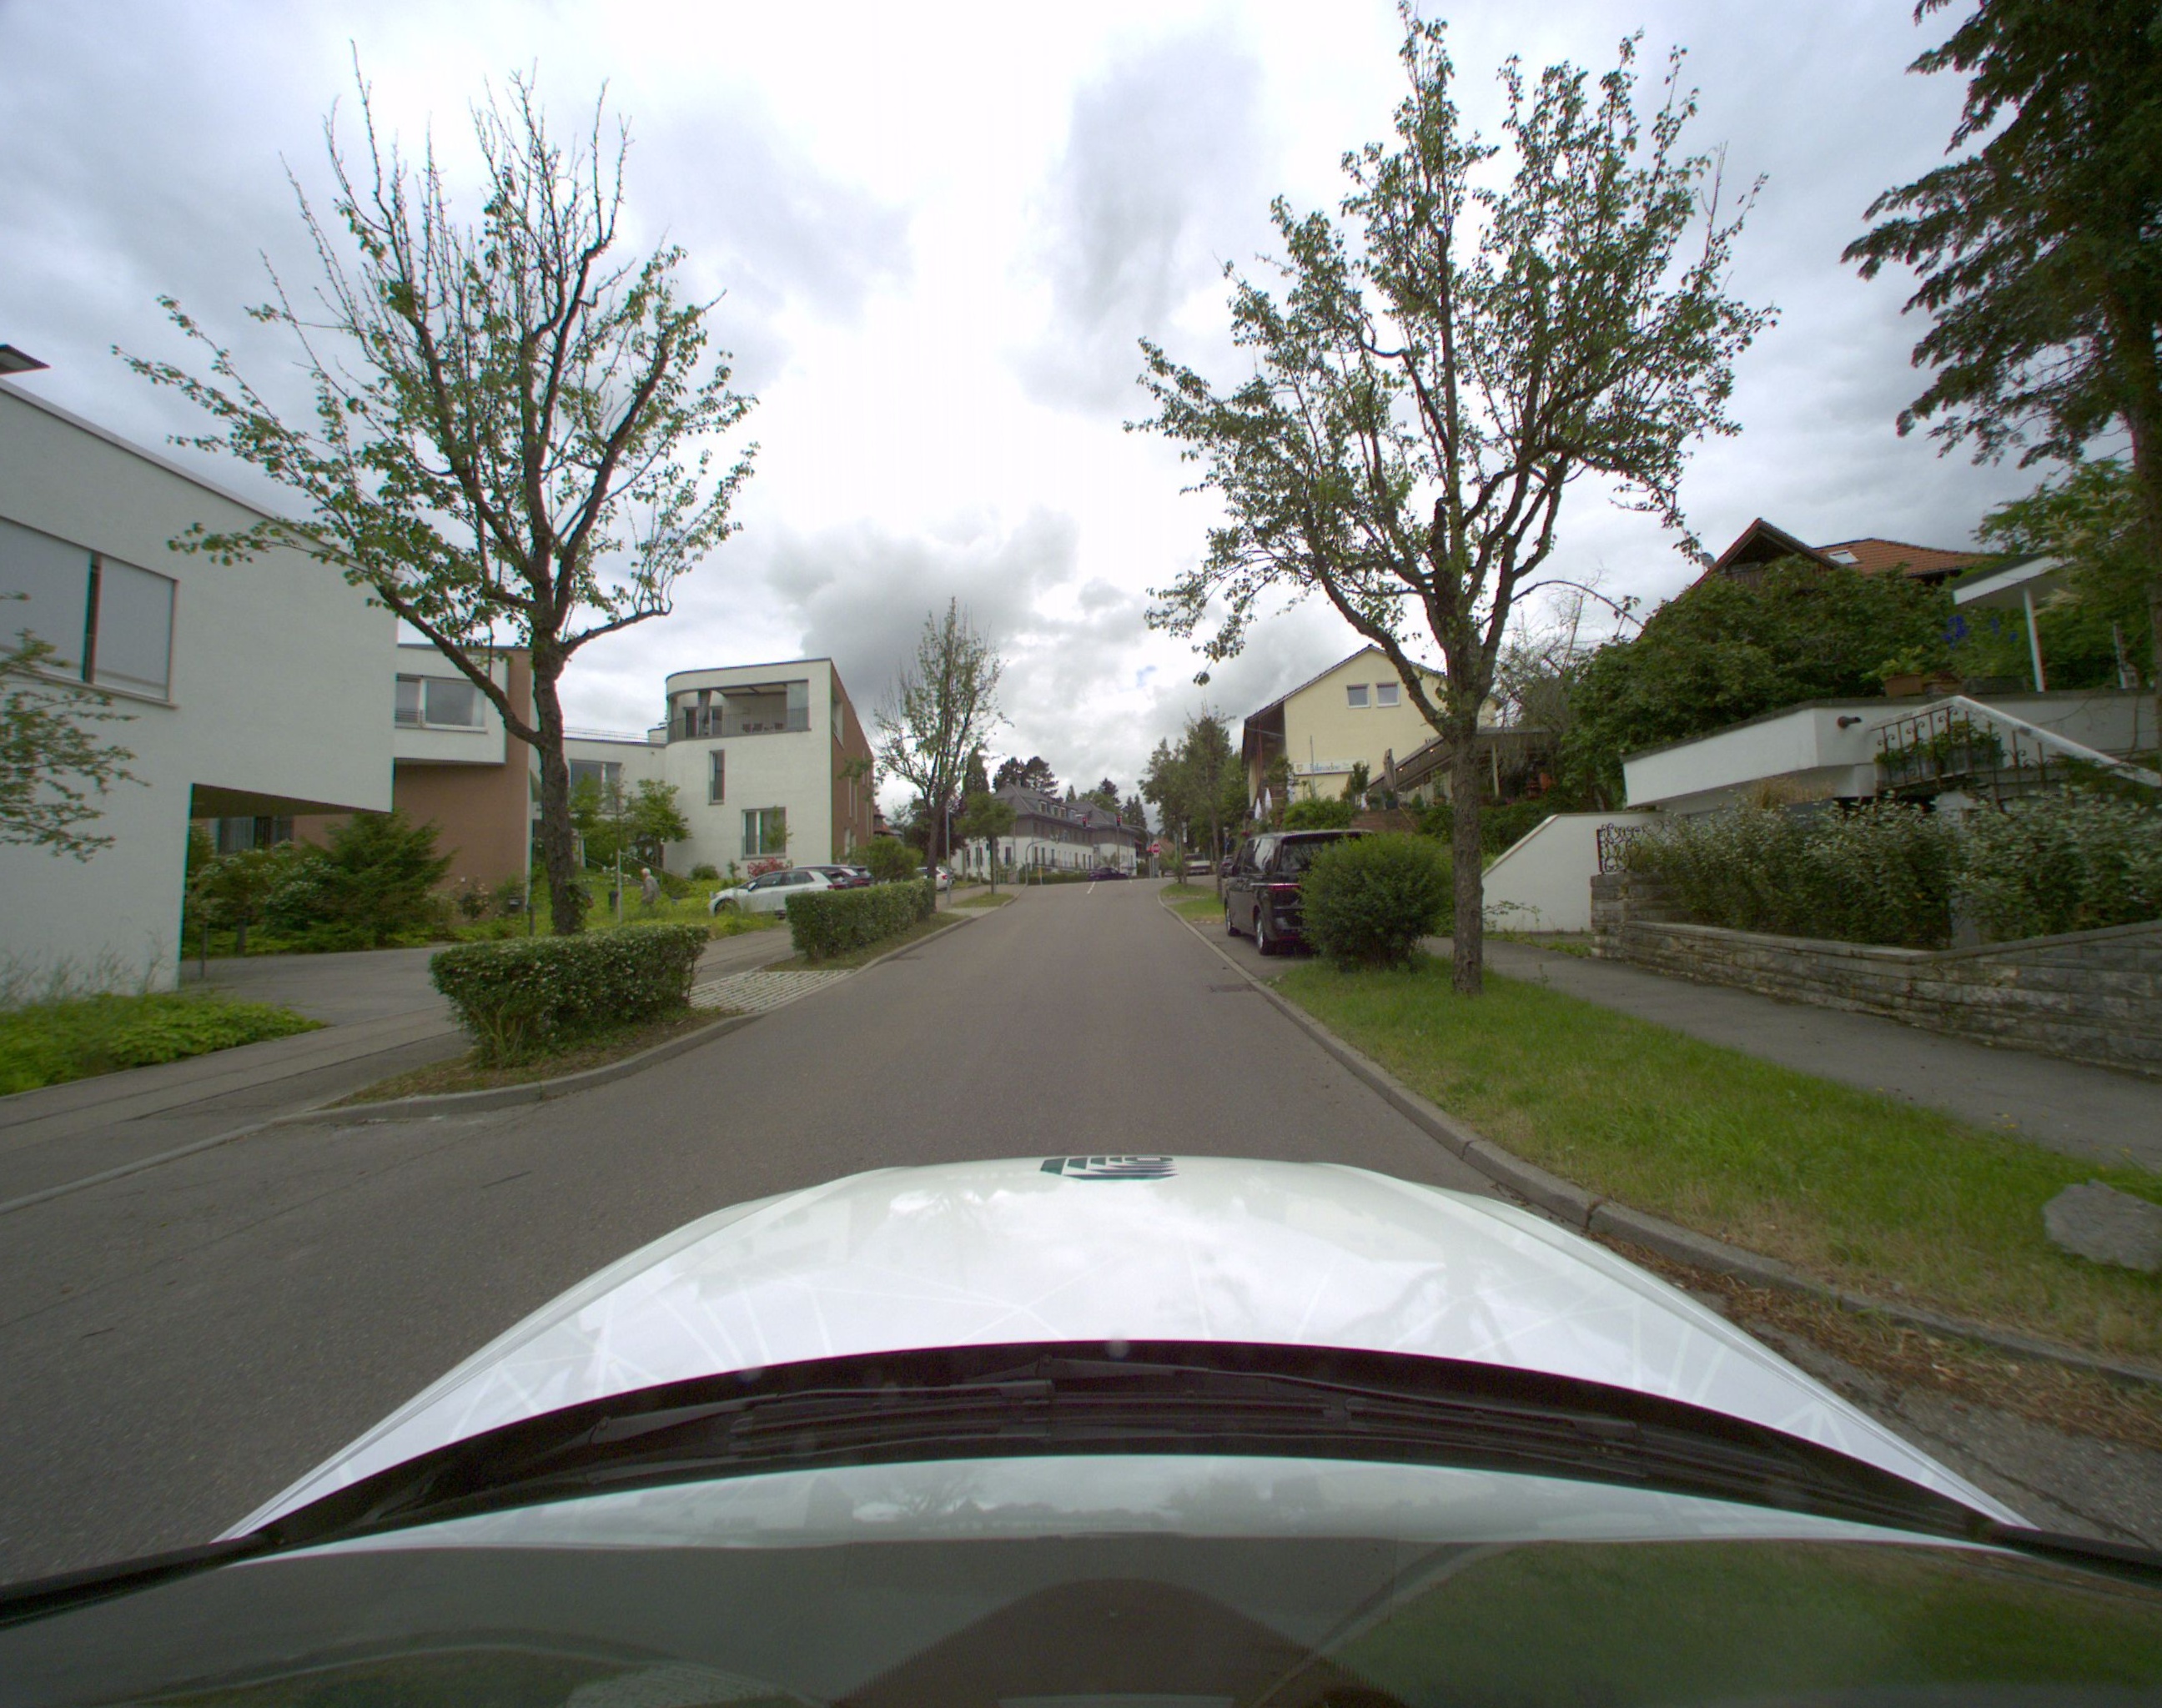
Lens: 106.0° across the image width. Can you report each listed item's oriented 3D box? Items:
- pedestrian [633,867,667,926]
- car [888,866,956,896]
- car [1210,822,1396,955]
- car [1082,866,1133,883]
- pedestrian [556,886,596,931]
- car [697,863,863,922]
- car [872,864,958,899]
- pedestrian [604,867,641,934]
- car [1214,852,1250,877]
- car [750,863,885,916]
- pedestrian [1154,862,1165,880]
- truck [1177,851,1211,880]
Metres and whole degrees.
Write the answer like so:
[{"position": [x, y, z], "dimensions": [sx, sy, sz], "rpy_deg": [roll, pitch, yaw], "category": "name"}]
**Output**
[{"position": [-12.439, 1.210, 23.500], "dimensions": [0.591, 1.640, 0.566], "rpy_deg": [-3, -1, 2], "category": "pedestrian"}, {"position": [-9.464, 1.594, 48.719], "dimensions": [3.753, 1.464, 1.729], "rpy_deg": [-3, 0, -5], "category": "car"}, {"position": [3.595, 0.519, 14.287], "dimensions": [1.929, 1.838, 5.220], "rpy_deg": [-2, -1, 2], "category": "car"}, {"position": [2.691, 2.059, 81.832], "dimensions": [4.729, 1.491, 2.139], "rpy_deg": [-2, -1, -33], "category": "car"}, {"position": [-15.105, 1.627, 24.359], "dimensions": [0.605, 1.283, 0.900], "rpy_deg": [-1, -1, 1], "category": "pedestrian"}, {"position": [-9.403, 1.176, 25.745], "dimensions": [4.373, 1.566, 2.066], "rpy_deg": [-3, -1, 0], "category": "car"}, {"position": [-9.040, 1.497, 44.584], "dimensions": [4.249, 1.623, 2.012], "rpy_deg": [-3, -2, -2], "category": "car"}, {"position": [-11.835, 1.189, 21.029], "dimensions": [0.586, 1.682, 0.520], "rpy_deg": [-2, -1, 2], "category": "pedestrian"}, {"position": [9.838, 0.687, 53.281], "dimensions": [1.839, 1.472, 4.392], "rpy_deg": [-5, -1, 6], "category": "car"}, {"position": [-9.093, 1.193, 28.342], "dimensions": [3.971, 1.653, 2.009], "rpy_deg": [-2, -1, 2], "category": "car"}, {"position": [7.383, 1.590, 76.307], "dimensions": [0.703, 1.682, 0.679], "rpy_deg": [-2, -1, -32], "category": "pedestrian"}, {"position": [10.053, 1.059, 72.874], "dimensions": [2.176, 2.195, 5.881], "rpy_deg": [-2, -4, 1], "category": "truck"}]
